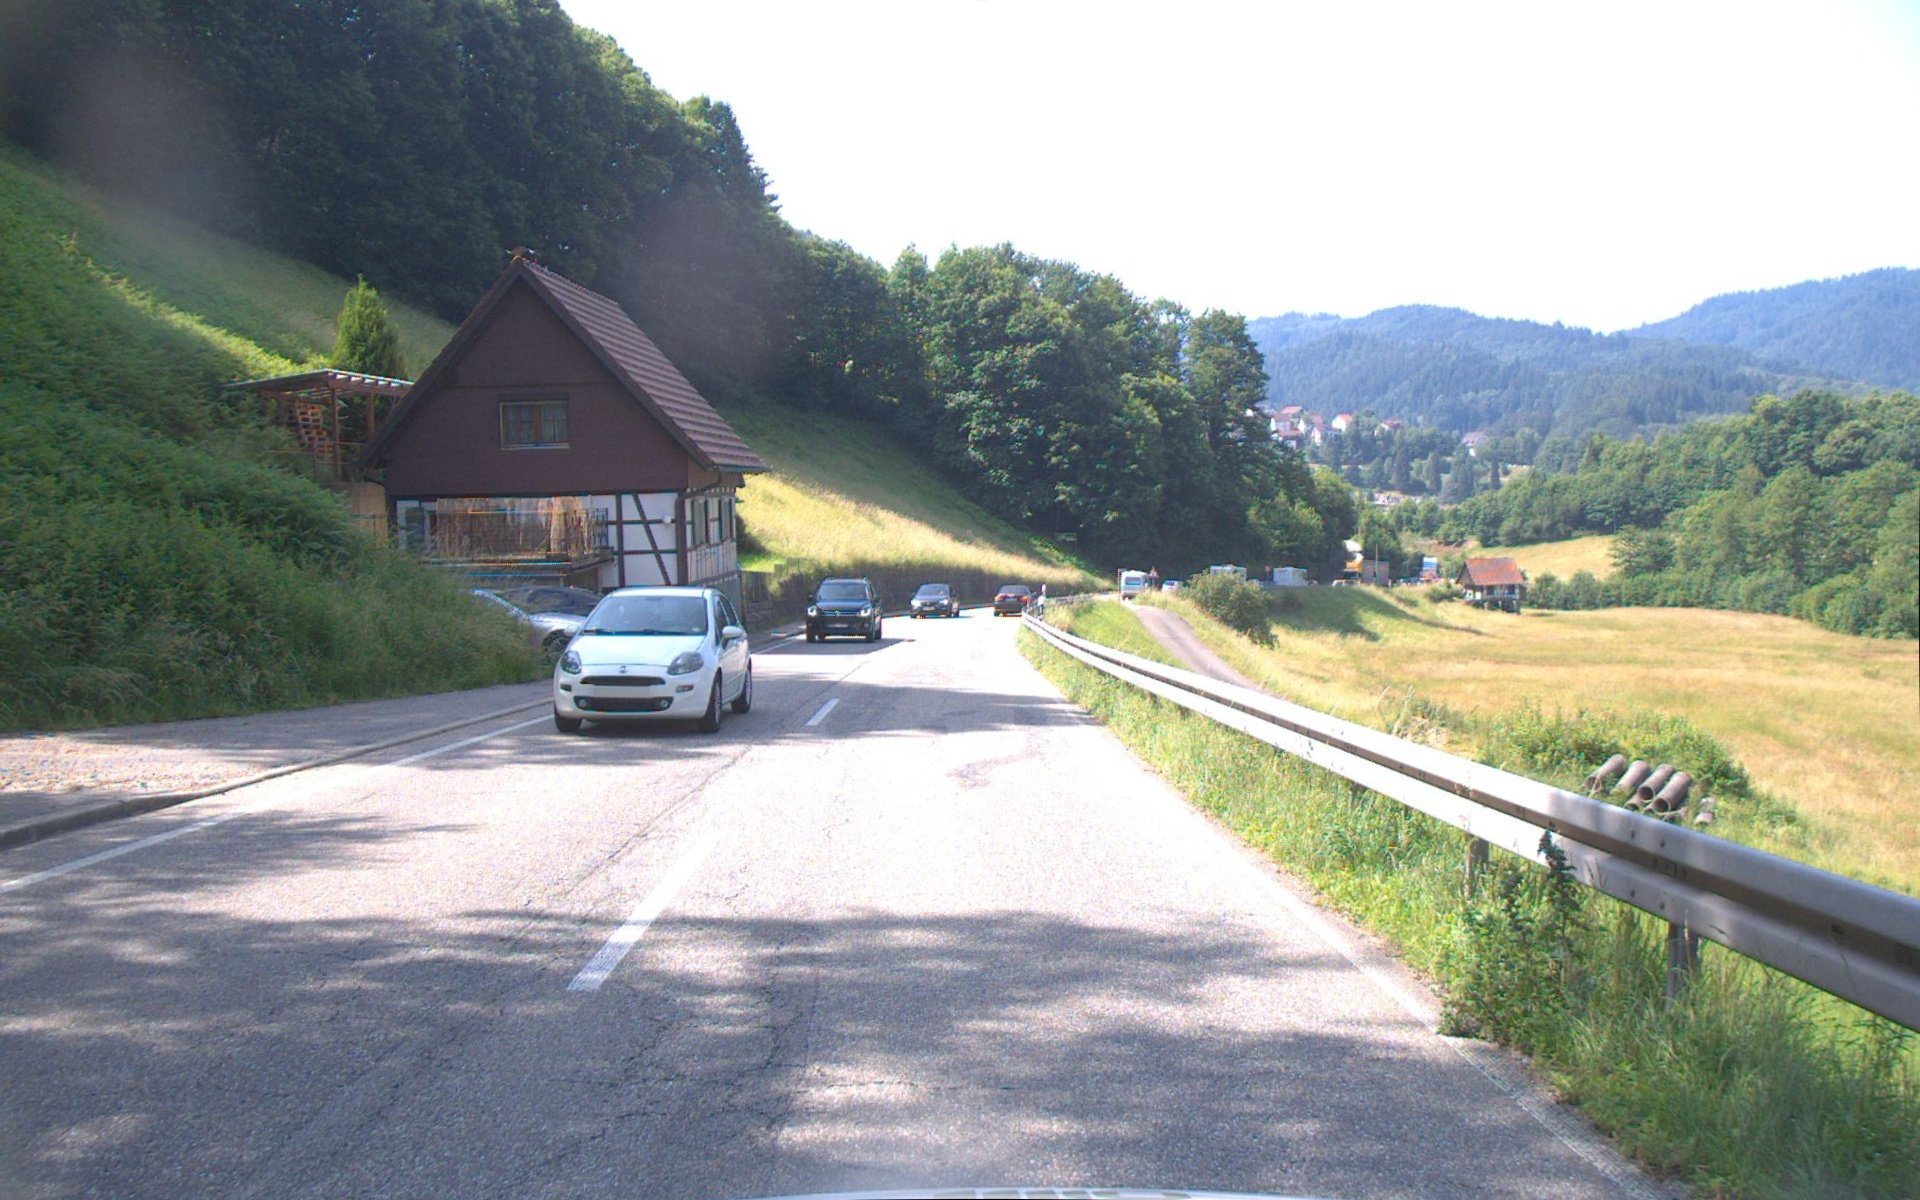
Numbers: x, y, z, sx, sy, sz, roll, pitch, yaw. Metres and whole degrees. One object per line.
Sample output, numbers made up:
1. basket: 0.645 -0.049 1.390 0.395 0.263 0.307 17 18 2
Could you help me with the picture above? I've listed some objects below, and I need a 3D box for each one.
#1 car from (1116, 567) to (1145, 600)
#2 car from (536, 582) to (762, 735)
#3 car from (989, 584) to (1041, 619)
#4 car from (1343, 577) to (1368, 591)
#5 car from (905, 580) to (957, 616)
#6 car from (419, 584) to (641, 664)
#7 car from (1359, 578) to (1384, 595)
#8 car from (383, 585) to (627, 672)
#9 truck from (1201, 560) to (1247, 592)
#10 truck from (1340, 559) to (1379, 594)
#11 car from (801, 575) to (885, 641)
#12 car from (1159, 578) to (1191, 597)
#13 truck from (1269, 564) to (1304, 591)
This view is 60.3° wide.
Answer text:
1. car: 13.463 -1.323 130.693 1.951 2.393 4.919 1 2 9
2. car: -3.272 0.582 18.116 1.741 1.462 3.999 -1 0 -1
3. car: 2.470 0.065 73.692 1.733 1.358 3.771 2 2 10
4. car: 49.464 -1.969 206.827 1.873 1.511 3.991 6 2 31
5. car: -1.222 -0.123 71.136 1.727 1.420 4.148 1 2 6
6. car: -8.232 0.440 31.856 3.736 1.458 1.864 0 1 2
7. car: 53.519 -1.768 214.934 1.958 1.959 3.991 4 2 31
8. car: -7.969 0.473 29.186 3.736 1.441 1.858 0 1 2
9. truck: 26.580 -2.435 166.146 2.736 3.049 6.865 4 3 24
10. truck: 54.799 -3.186 226.802 3.131 4.472 6.556 4 1 31
11. car: -3.078 0.197 44.141 1.850 1.674 4.258 0 0 1
12. car: 19.464 -1.166 149.882 1.953 1.509 4.001 4 3 20
13. truck: 36.808 -2.531 186.396 2.195 2.852 6.223 2 0 28
